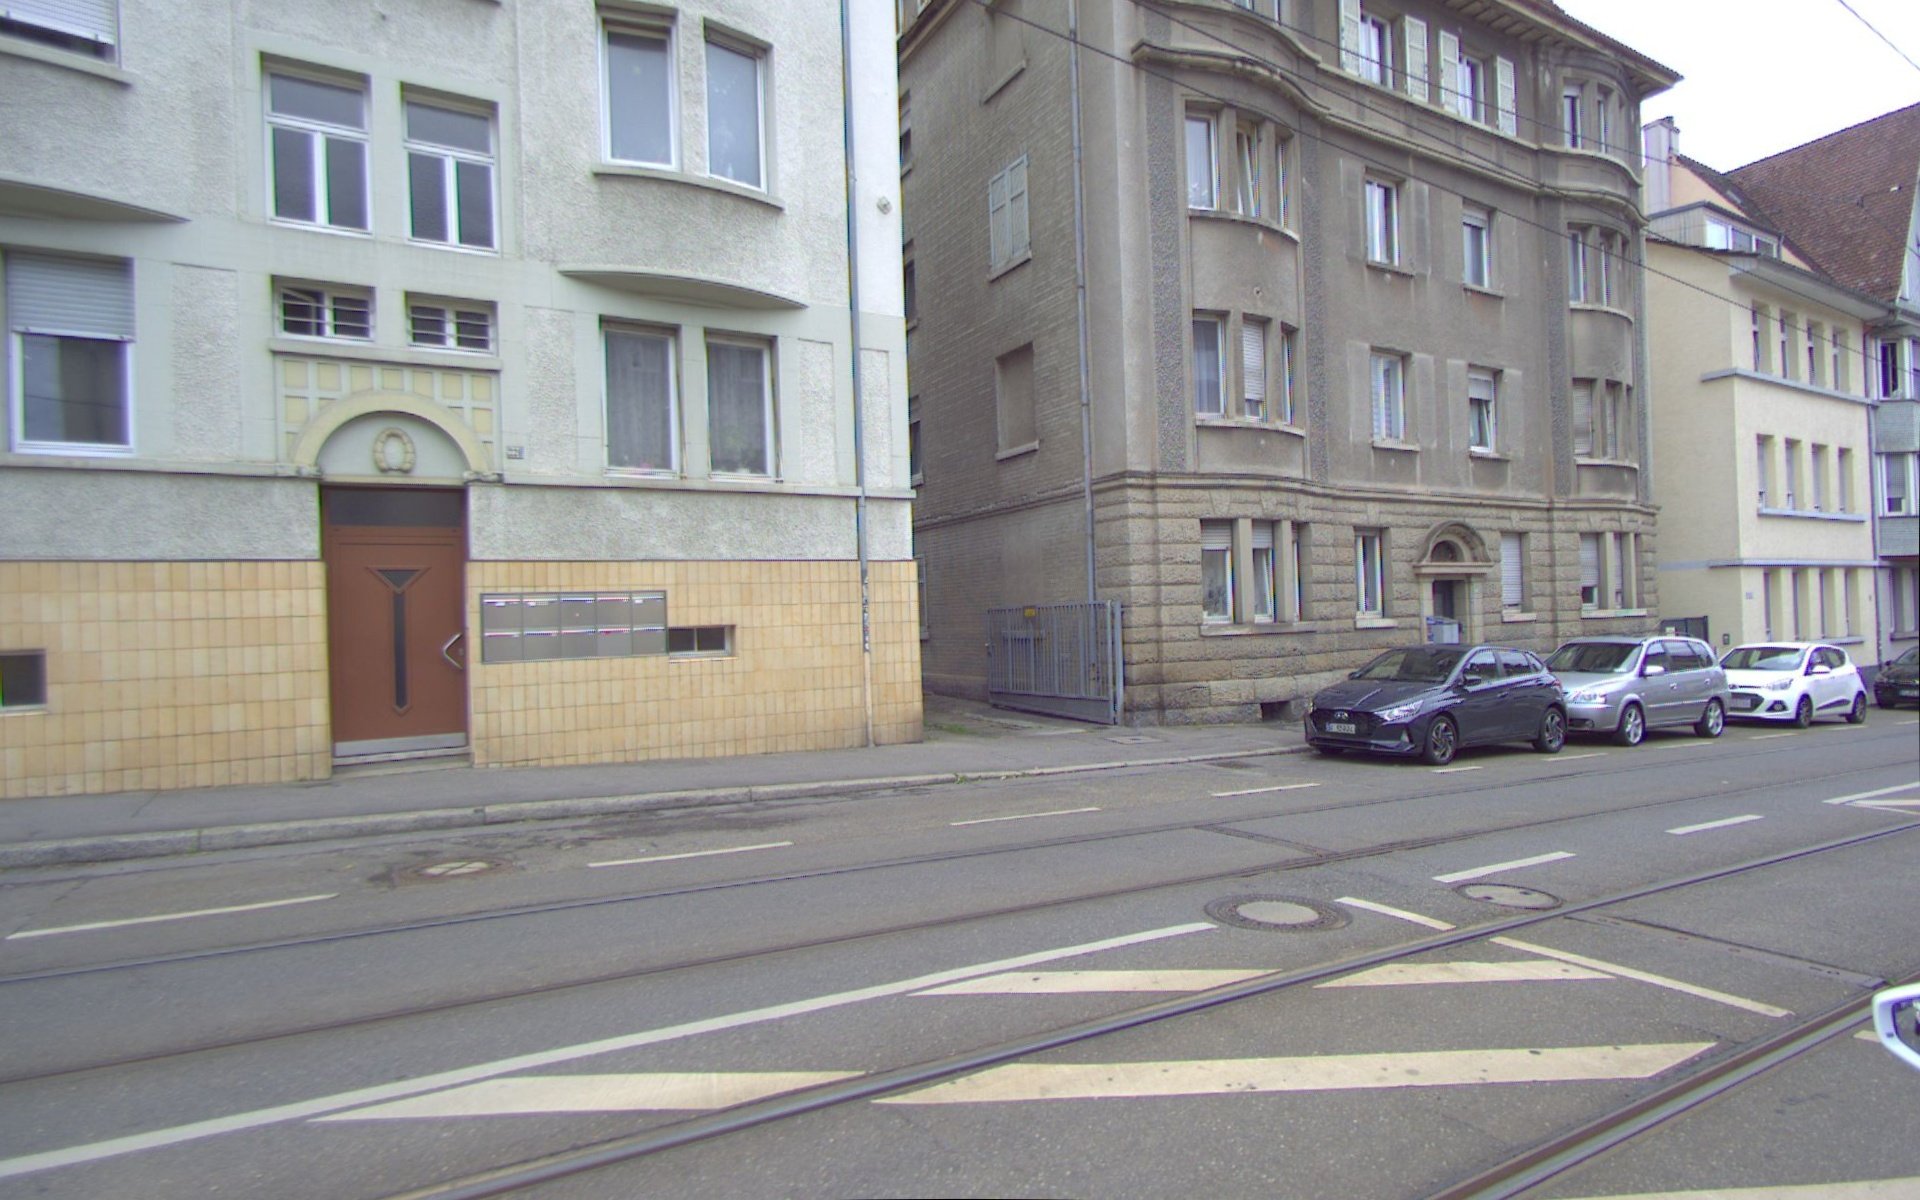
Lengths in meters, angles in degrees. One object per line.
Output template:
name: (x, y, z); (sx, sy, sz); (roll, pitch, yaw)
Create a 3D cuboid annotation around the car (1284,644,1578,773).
car: (6.290, 1.352, 13.307); (3.988, 1.482, 1.612); (2, -4, -32)

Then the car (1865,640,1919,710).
car: (22.409, 1.673, 22.759); (4.505, 1.492, 1.612); (2, -4, -32)

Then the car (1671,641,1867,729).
car: (14.990, 1.523, 18.593); (3.642, 1.482, 1.613); (2, -4, -30)

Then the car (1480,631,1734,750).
car: (10.113, 1.319, 15.618); (4.302, 1.625, 1.612); (1, -3, -32)
